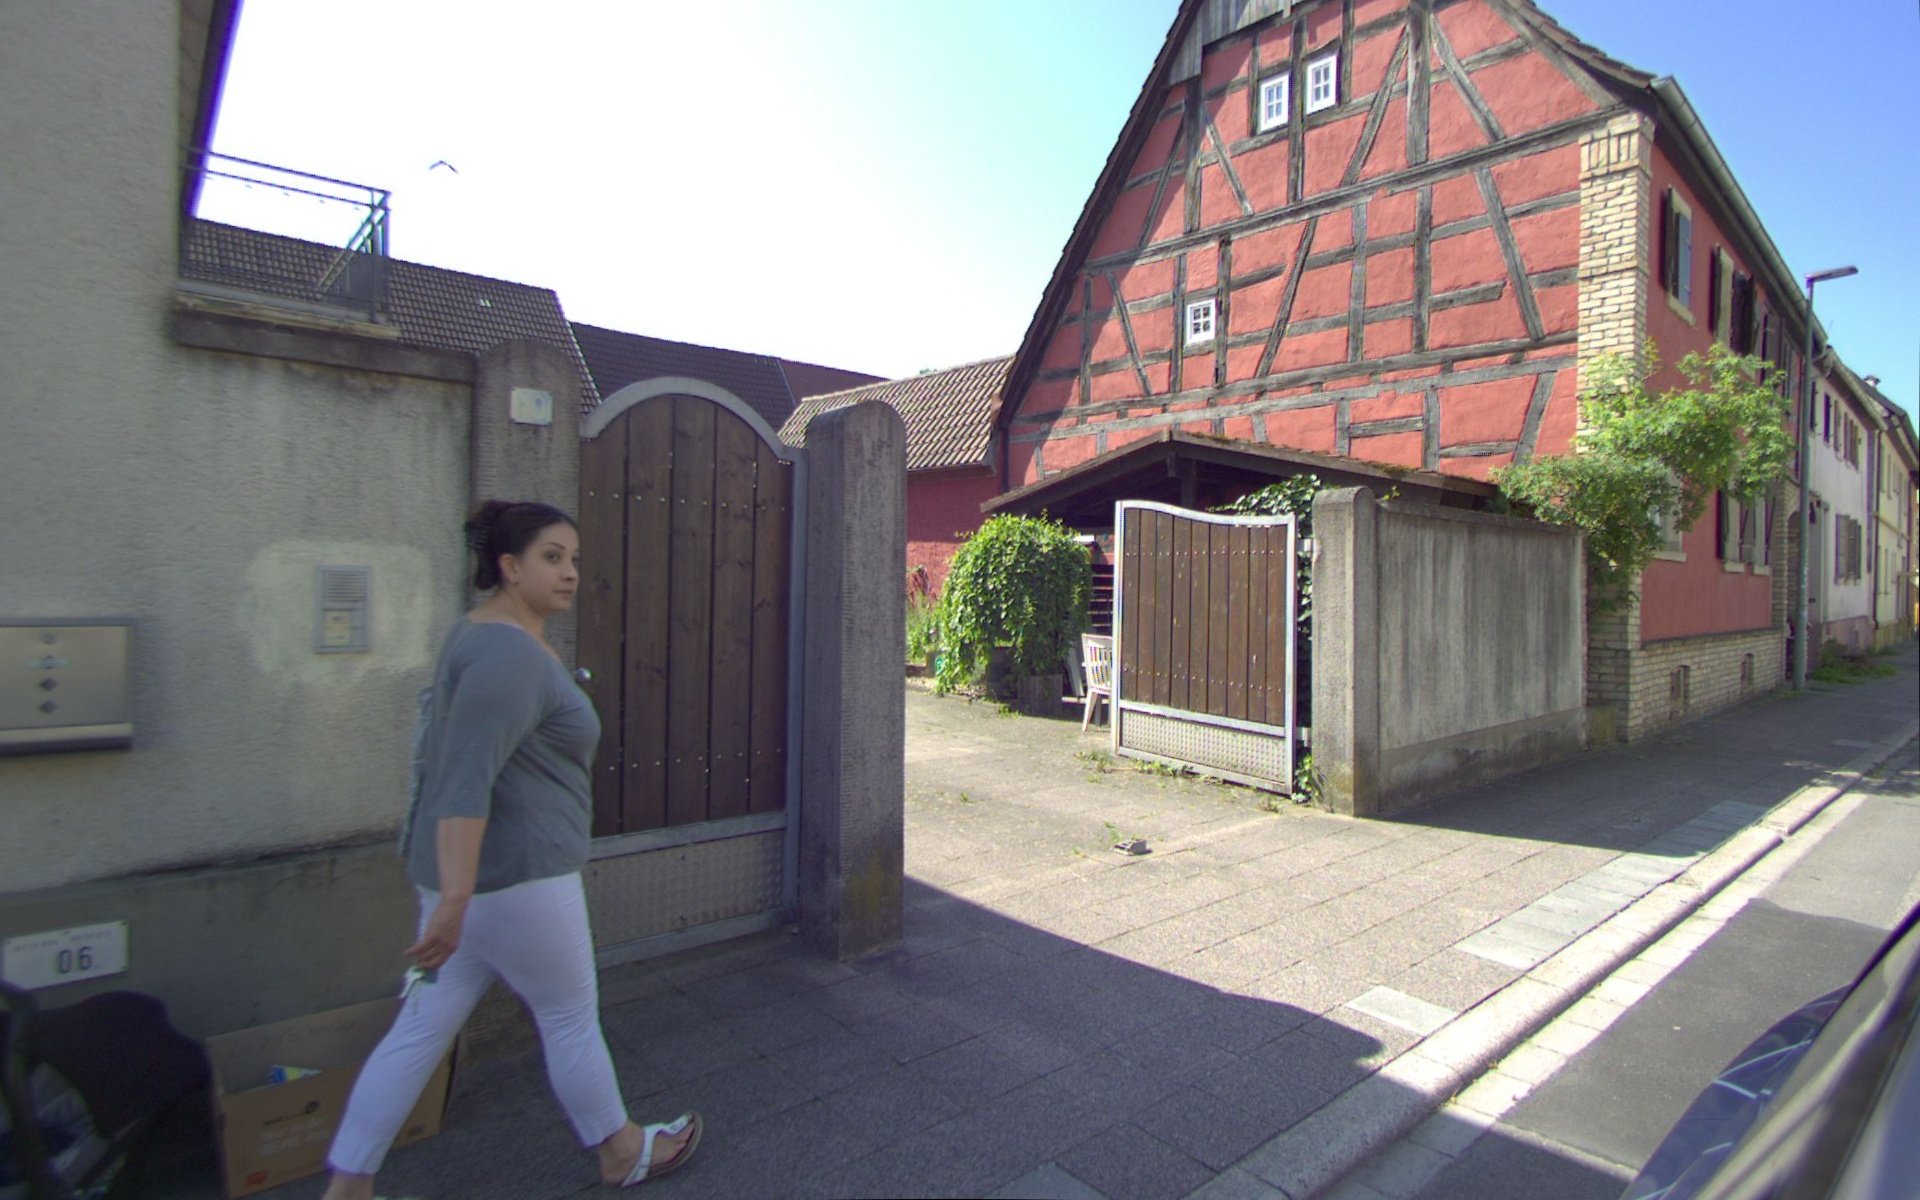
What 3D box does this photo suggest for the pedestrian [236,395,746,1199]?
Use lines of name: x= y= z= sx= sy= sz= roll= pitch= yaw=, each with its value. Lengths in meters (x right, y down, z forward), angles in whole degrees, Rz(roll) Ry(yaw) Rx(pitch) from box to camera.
pedestrian: x=-1.029 y=0.503 z=2.209 sx=0.876 sy=1.685 sz=0.721 roll=0 pitch=0 yaw=-37
